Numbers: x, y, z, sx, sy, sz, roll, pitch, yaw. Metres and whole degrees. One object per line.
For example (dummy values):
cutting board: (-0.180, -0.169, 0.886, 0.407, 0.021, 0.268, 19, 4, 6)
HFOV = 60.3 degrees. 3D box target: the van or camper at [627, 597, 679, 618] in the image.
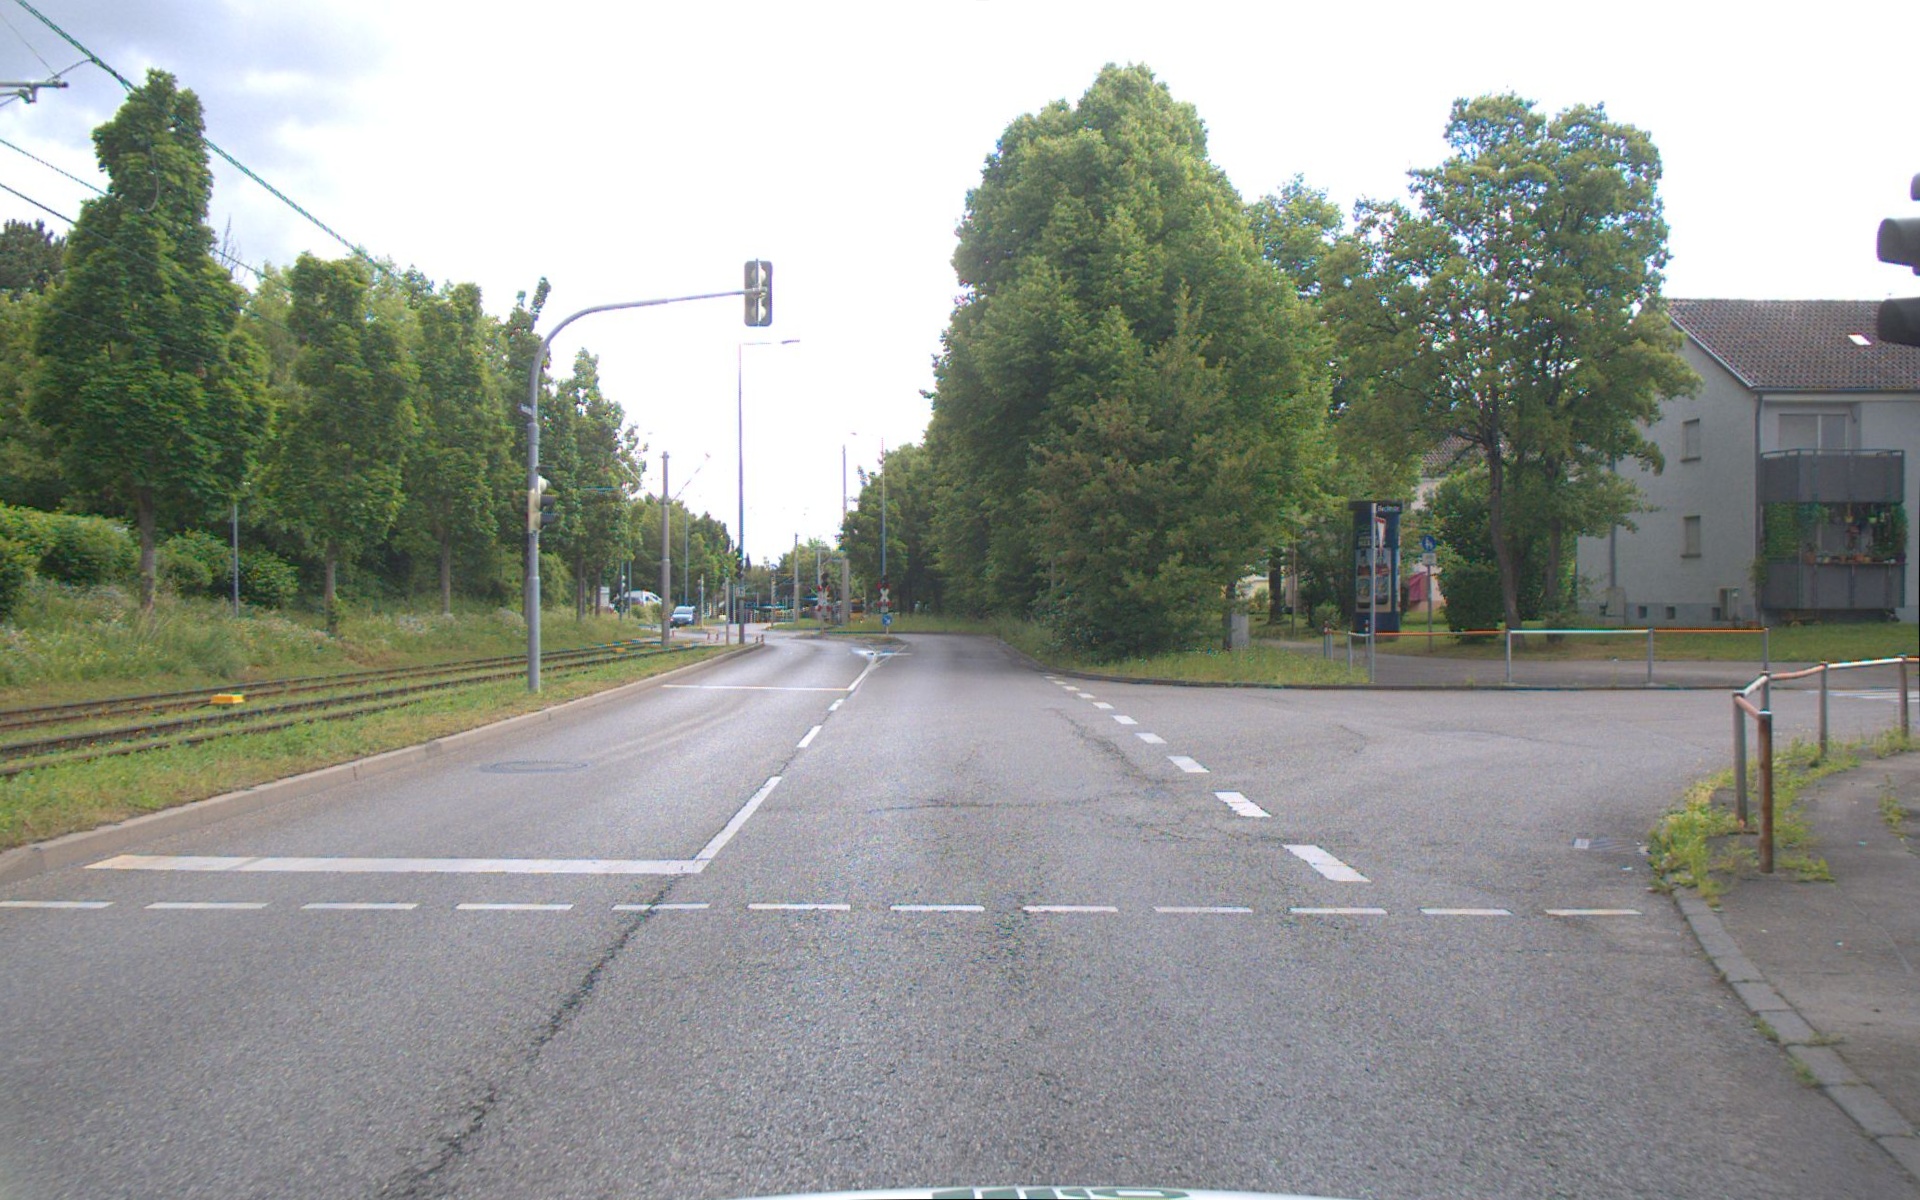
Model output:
van or camper: (-32.923, 0.785, 177.387, 5.228, 2.241, 1.998, 0, -1, -5)

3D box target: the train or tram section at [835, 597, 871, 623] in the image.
train or tram section: (-15.626, 1.575, 238.033, 2.951, 3.369, 34.649, 0, -1, -7)

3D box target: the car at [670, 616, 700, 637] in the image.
car: (-21.101, 1.998, 126.884, 1.830, 1.547, 4.236, 0, 0, -3)
